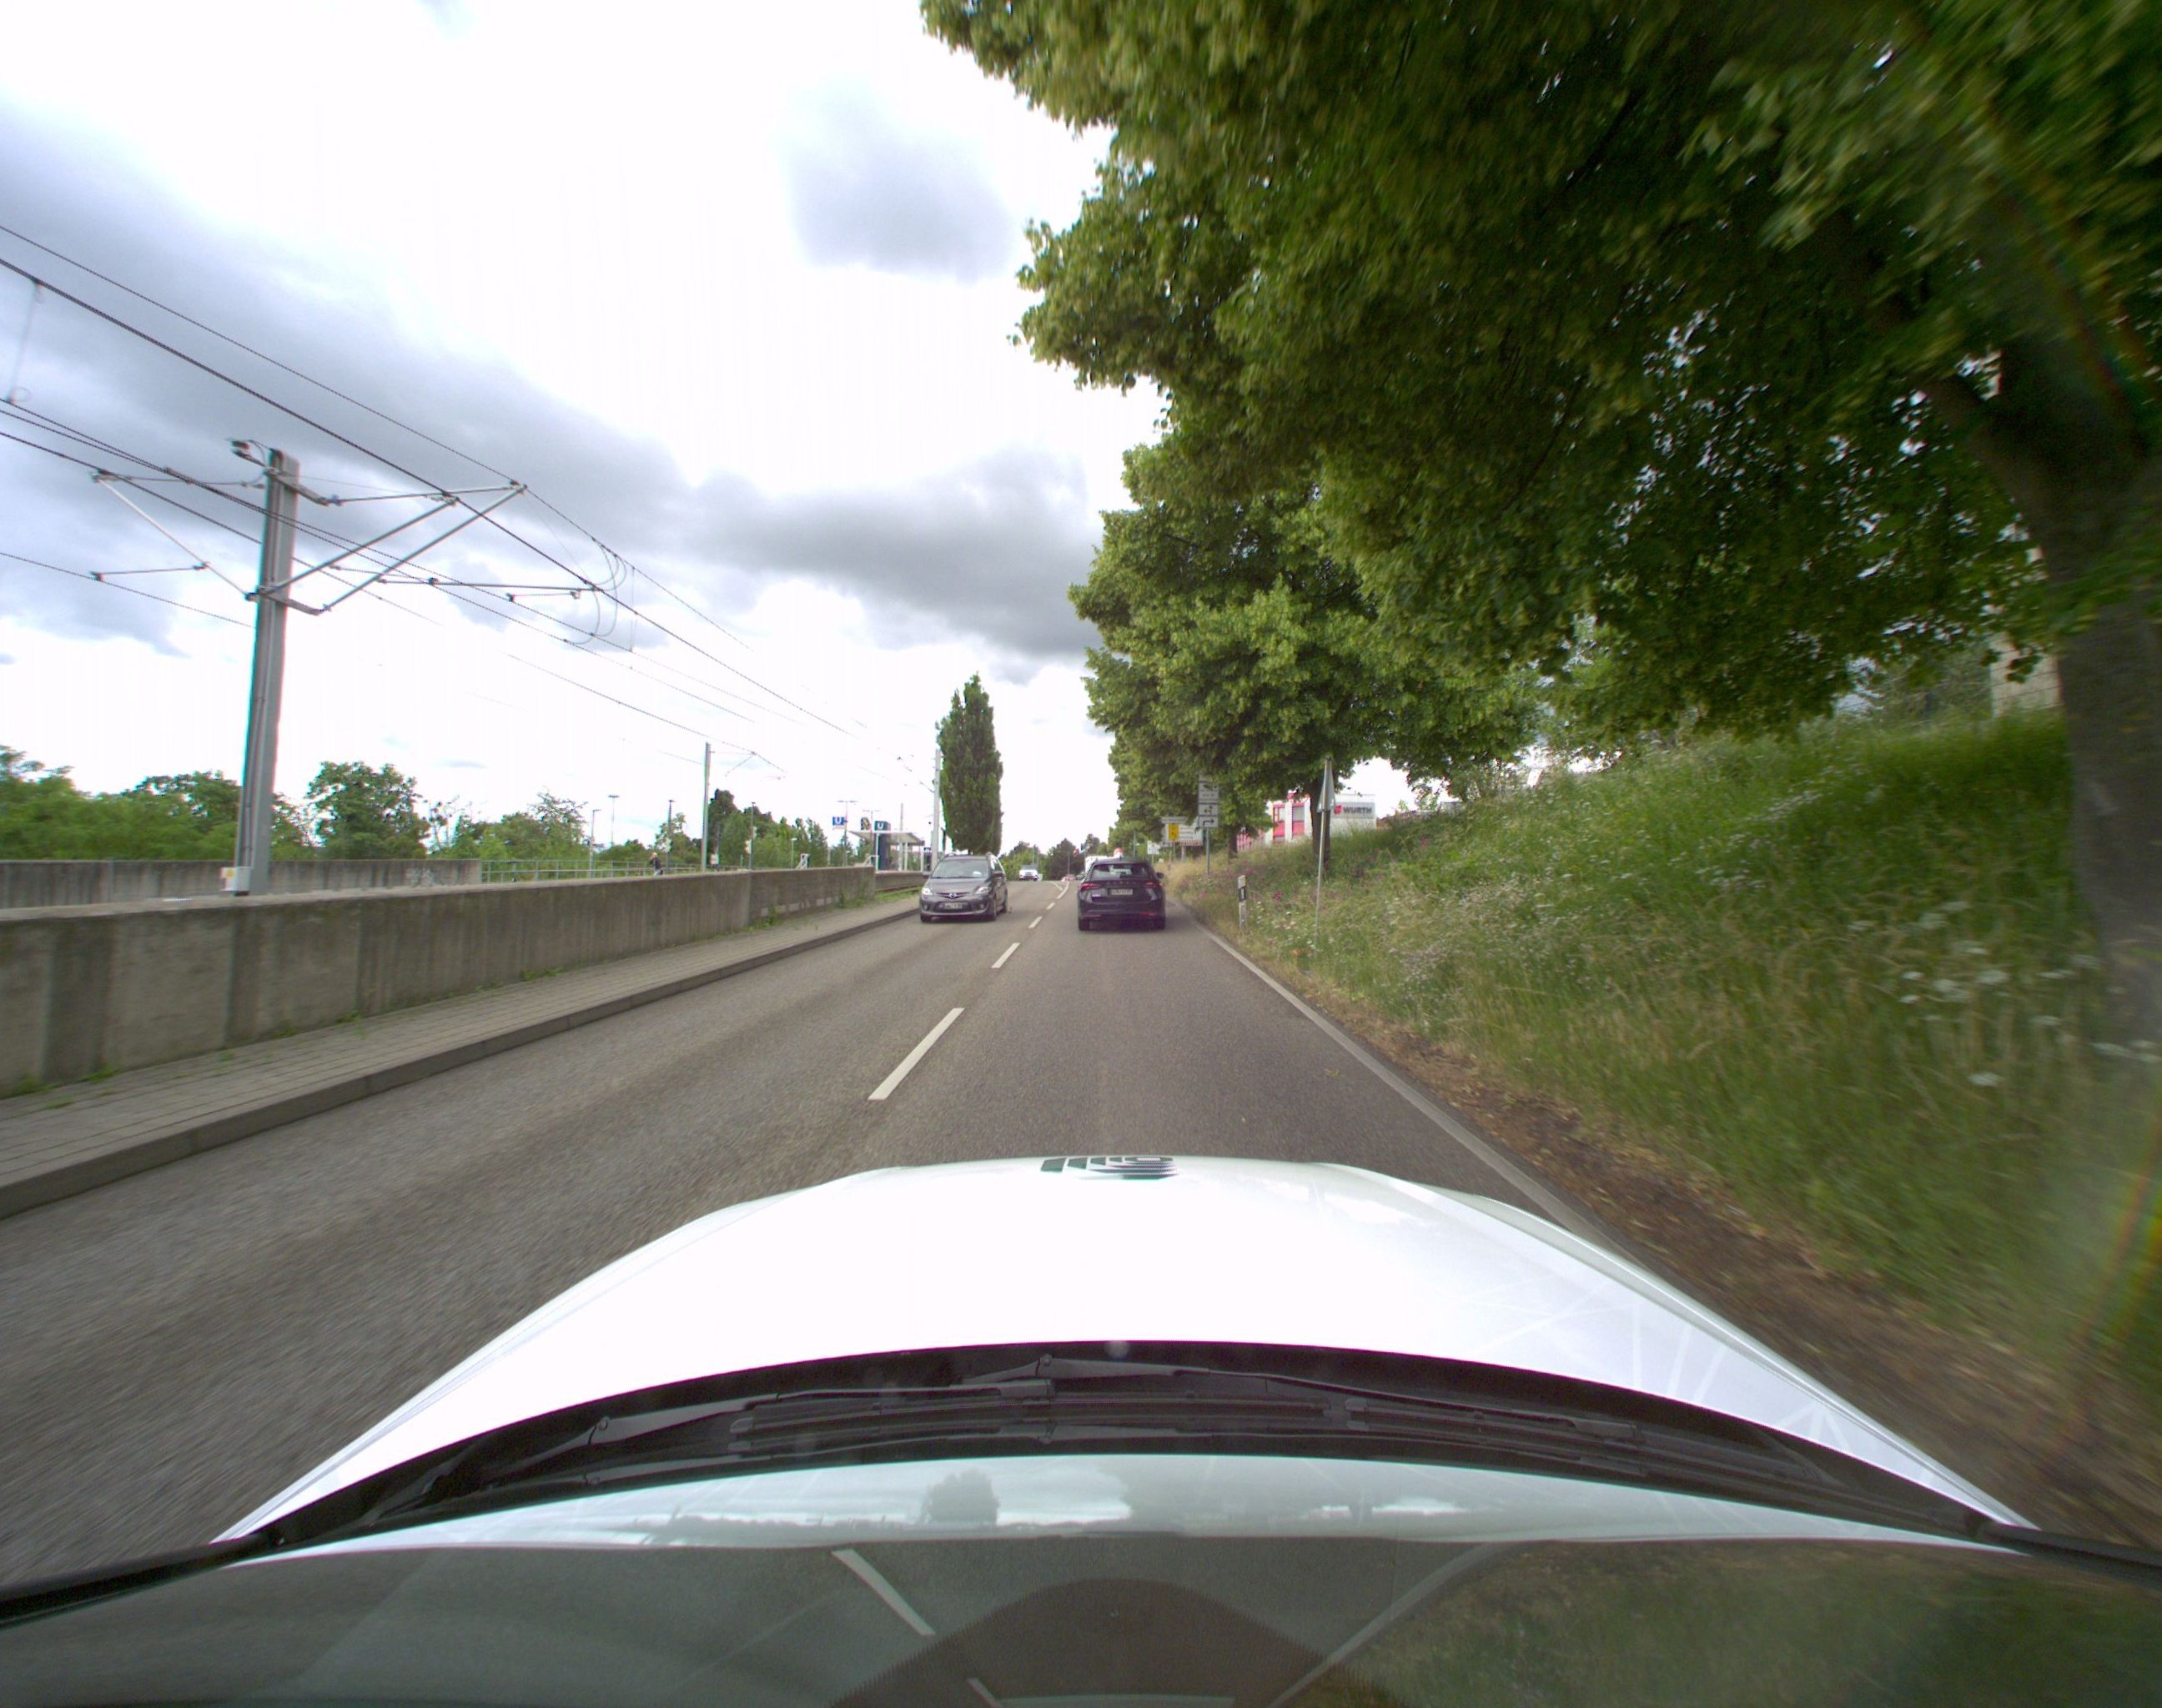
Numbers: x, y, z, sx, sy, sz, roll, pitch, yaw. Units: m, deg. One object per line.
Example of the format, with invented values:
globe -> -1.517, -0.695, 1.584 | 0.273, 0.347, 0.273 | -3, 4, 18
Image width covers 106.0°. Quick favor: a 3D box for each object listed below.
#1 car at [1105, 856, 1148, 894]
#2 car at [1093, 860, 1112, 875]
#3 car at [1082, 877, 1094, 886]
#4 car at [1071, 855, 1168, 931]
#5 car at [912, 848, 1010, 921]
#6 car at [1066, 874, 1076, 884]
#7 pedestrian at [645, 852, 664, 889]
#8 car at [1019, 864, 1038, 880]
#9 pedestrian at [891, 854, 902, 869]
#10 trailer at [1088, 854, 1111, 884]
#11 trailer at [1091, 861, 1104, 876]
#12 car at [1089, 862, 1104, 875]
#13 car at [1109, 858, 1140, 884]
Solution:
car -> 1.842, 0.835, 33.836 | 1.617, 1.457, 3.689 | -1, -1, 1
car -> 2.105, 1.375, 81.669 | 1.694, 1.486, 3.997 | 0, -1, -2
car -> 1.128, 4.447, 131.469 | 1.806, 1.354, 4.117 | 0, -1, 0
car -> 0.930, 0.741, 17.526 | 1.827, 1.432, 4.285 | -1, 0, 5
car -> -2.912, 0.694, 20.647 | 1.817, 1.657, 4.246 | 0, 0, 0
car -> -1.603, 3.986, 130.047 | 1.521, 1.354, 3.488 | 0, -1, -2
pedestrian -> -18.998, 0.719, 36.311 | 0.505, 1.625, 0.646 | 0, -1, 0
car -> -5.188, 1.761, 80.238 | 1.711, 1.521, 3.742 | -1, -1, -2
pedestrian -> -14.914, 0.595, 65.803 | 0.760, 1.199, 0.664 | 0, -2, -5
trailer -> 2.600, 2.222, 117.394 | 2.560, 3.707, 7.750 | 0, -6, -3
trailer -> 1.780, 1.563, 88.504 | 1.405, 1.594, 3.301 | 0, -2, -1
car -> 1.743, 1.658, 92.418 | 1.666, 1.448, 4.487 | 0, -2, -1
car -> 2.542, 1.006, 48.316 | 1.713, 1.457, 3.696 | 0, -1, 0
